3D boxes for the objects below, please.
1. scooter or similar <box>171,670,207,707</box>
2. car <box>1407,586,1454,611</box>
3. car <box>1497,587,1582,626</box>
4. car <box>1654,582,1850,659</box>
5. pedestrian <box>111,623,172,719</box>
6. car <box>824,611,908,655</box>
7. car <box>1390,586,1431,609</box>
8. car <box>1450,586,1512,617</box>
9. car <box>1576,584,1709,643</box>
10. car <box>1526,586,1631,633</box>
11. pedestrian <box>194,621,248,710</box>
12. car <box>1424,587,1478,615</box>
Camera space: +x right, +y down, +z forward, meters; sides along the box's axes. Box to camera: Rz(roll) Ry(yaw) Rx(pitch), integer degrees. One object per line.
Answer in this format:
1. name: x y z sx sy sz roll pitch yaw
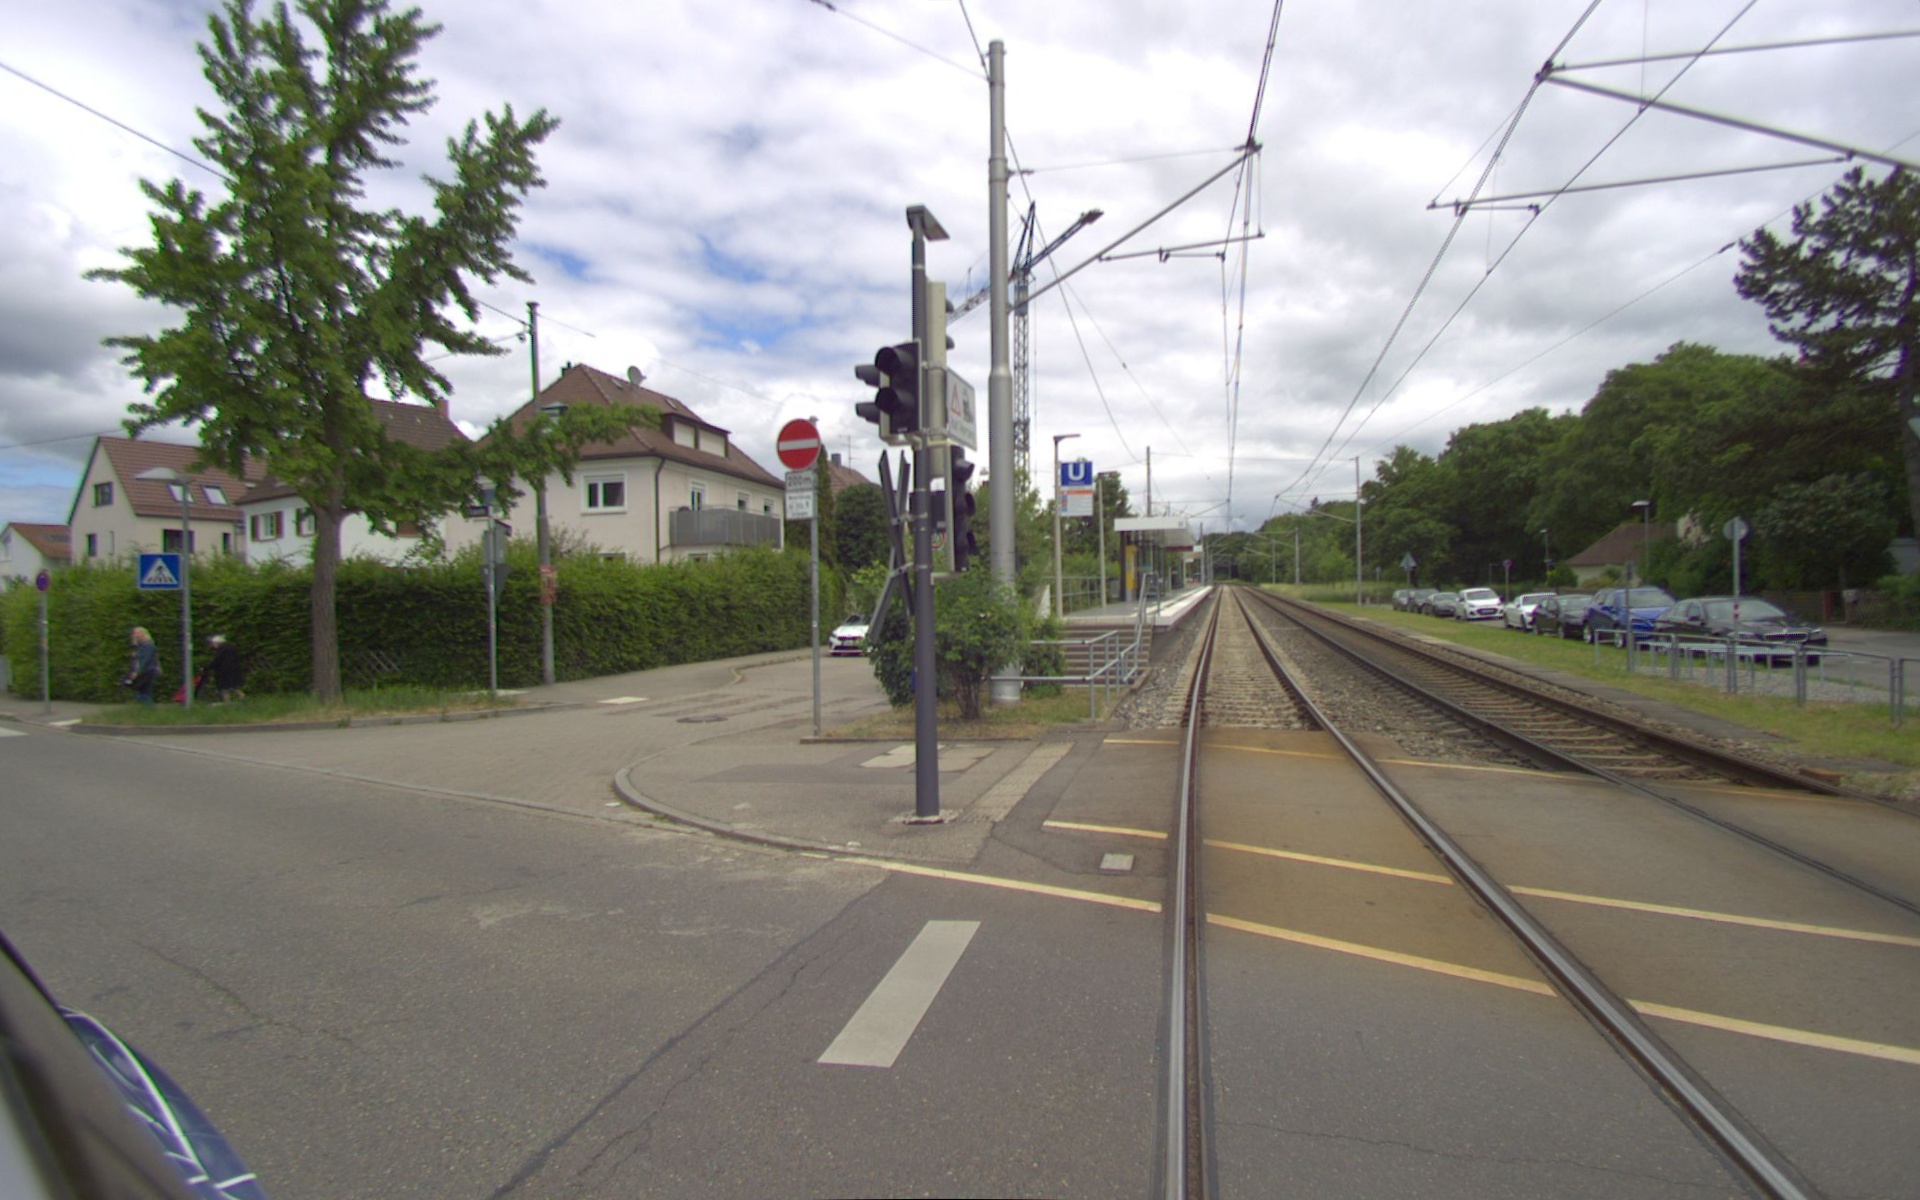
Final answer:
1. scooter or similar: -14.589 1.665 19.159 0.393 0.614 0.490 -4 2 -21
2. car: 28.002 -0.107 60.355 1.838 1.386 3.980 -2 0 16
3. car: 22.082 0.243 38.738 1.838 1.386 3.980 -2 0 16
4. car: 17.379 0.410 22.474 1.804 1.513 4.102 -2 0 13
5. pedestrian: -14.546 1.242 18.001 0.588 1.632 0.680 -3 1 -21
6. car: -3.065 1.058 33.723 1.763 1.322 3.759 -1 0 12
7. car: 29.434 -0.146 66.234 1.838 1.386 3.980 -2 0 16
8. car: 25.222 0.057 49.100 1.838 1.386 3.980 -2 0 16
9. car: 18.943 0.340 28.301 1.838 1.492 3.980 -2 0 16
10. car: 20.100 0.286 33.056 1.838 1.386 3.980 -2 0 16
11. pedestrian: -14.170 1.243 19.419 0.588 1.632 0.680 -3 1 -21
12. car: 26.172 0.069 54.039 1.838 1.386 3.980 -2 0 16
